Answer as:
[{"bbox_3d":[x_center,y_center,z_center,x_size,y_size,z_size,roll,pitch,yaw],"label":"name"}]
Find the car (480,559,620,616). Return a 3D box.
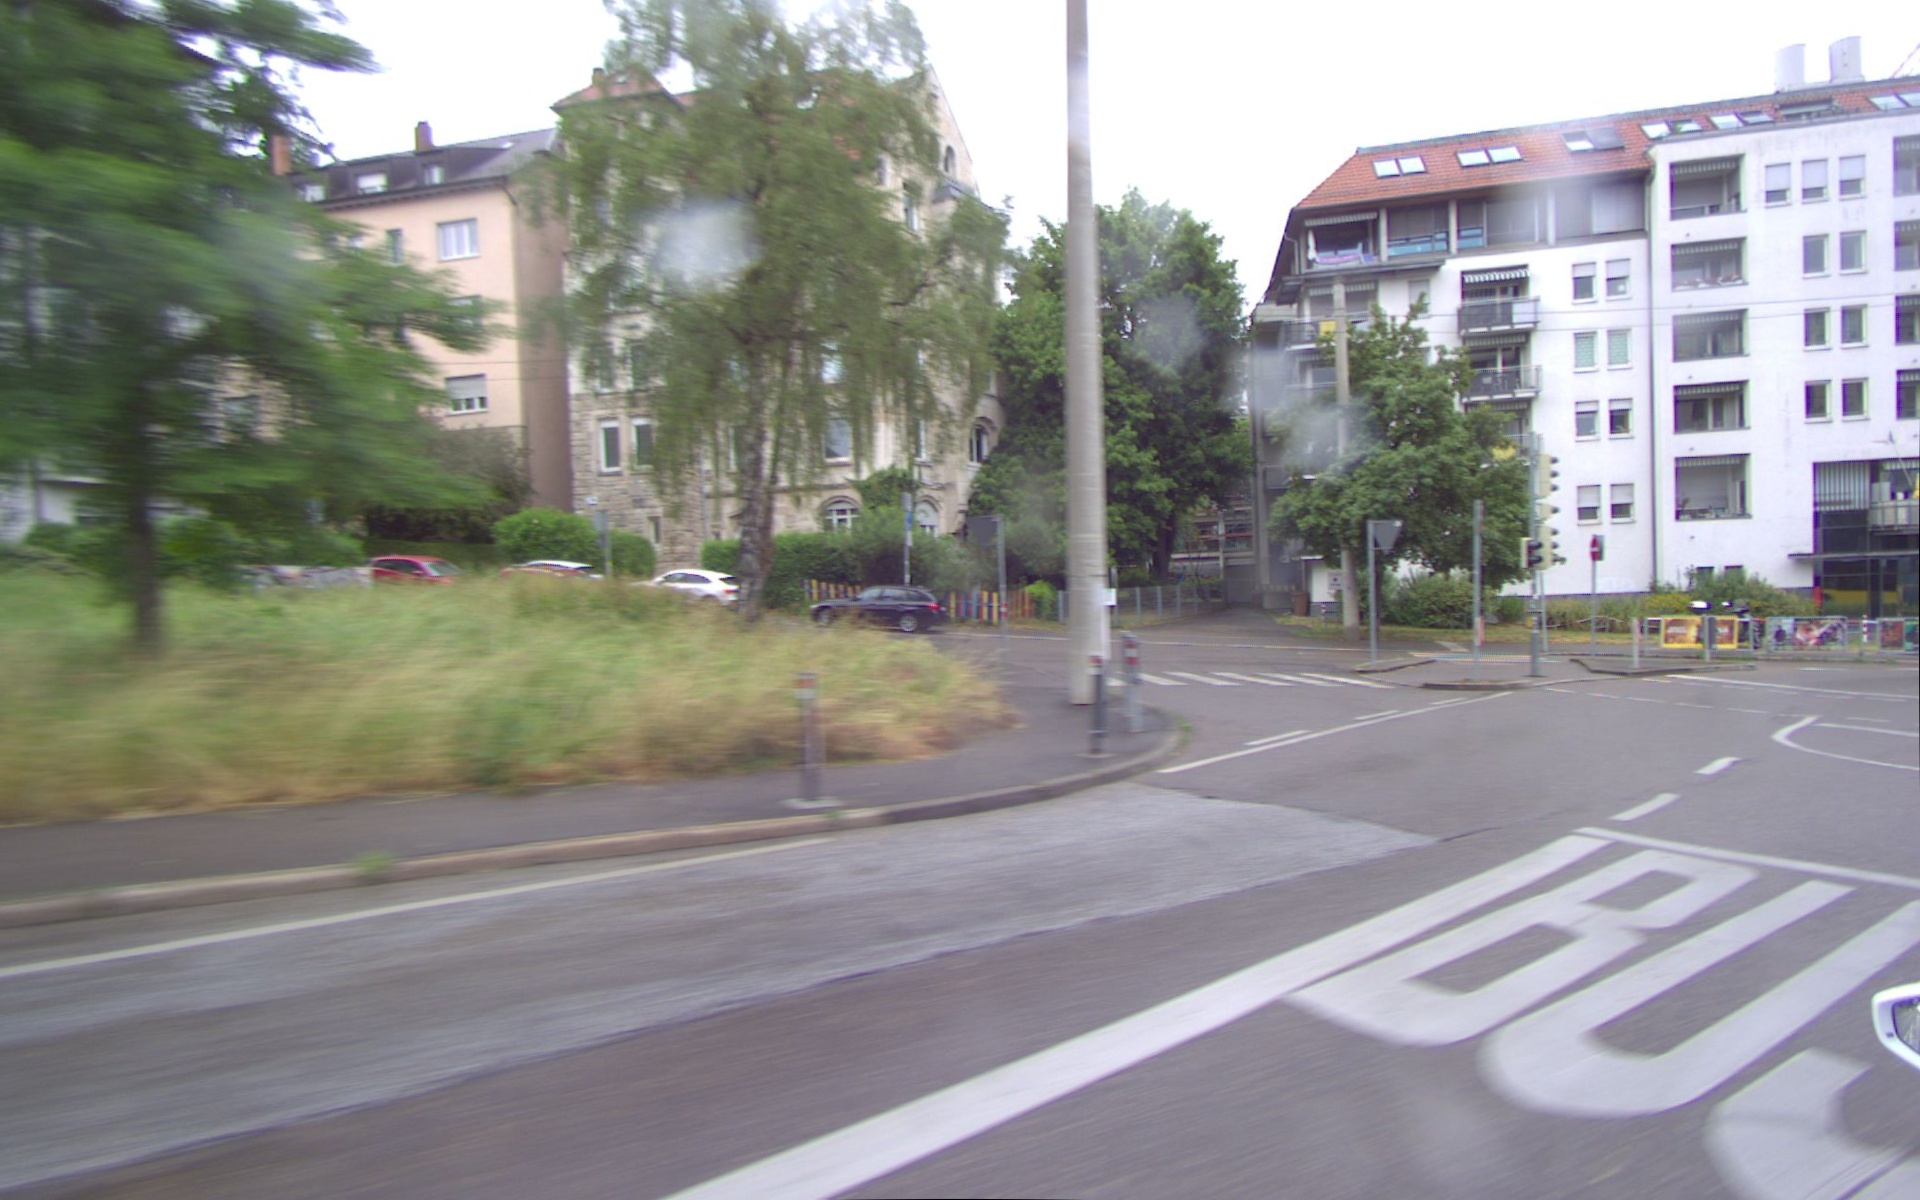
[{"bbox_3d":[-14.416,-0.436,35.394,4.197,1.859,1.807,1,-1,10],"label":"car"}]

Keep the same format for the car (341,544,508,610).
[{"bbox_3d":[-16.169,-0.688,30.402,4.197,1.859,1.807,2,0,10],"label":"car"}]

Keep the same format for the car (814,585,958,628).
[{"bbox_3d":[-2.359,0.200,32.434,4.269,1.239,1.754,2,0,16],"label":"car"}]

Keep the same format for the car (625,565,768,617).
[{"bbox_3d":[-8.976,-0.315,34.327,4.268,1.615,2.001,2,0,13],"label":"car"}]

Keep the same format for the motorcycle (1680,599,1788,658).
[{"bbox_3d":[22.540,0.825,29.281,2.391,1.572,0.699,2,4,5],"label":"motorcycle"}]
